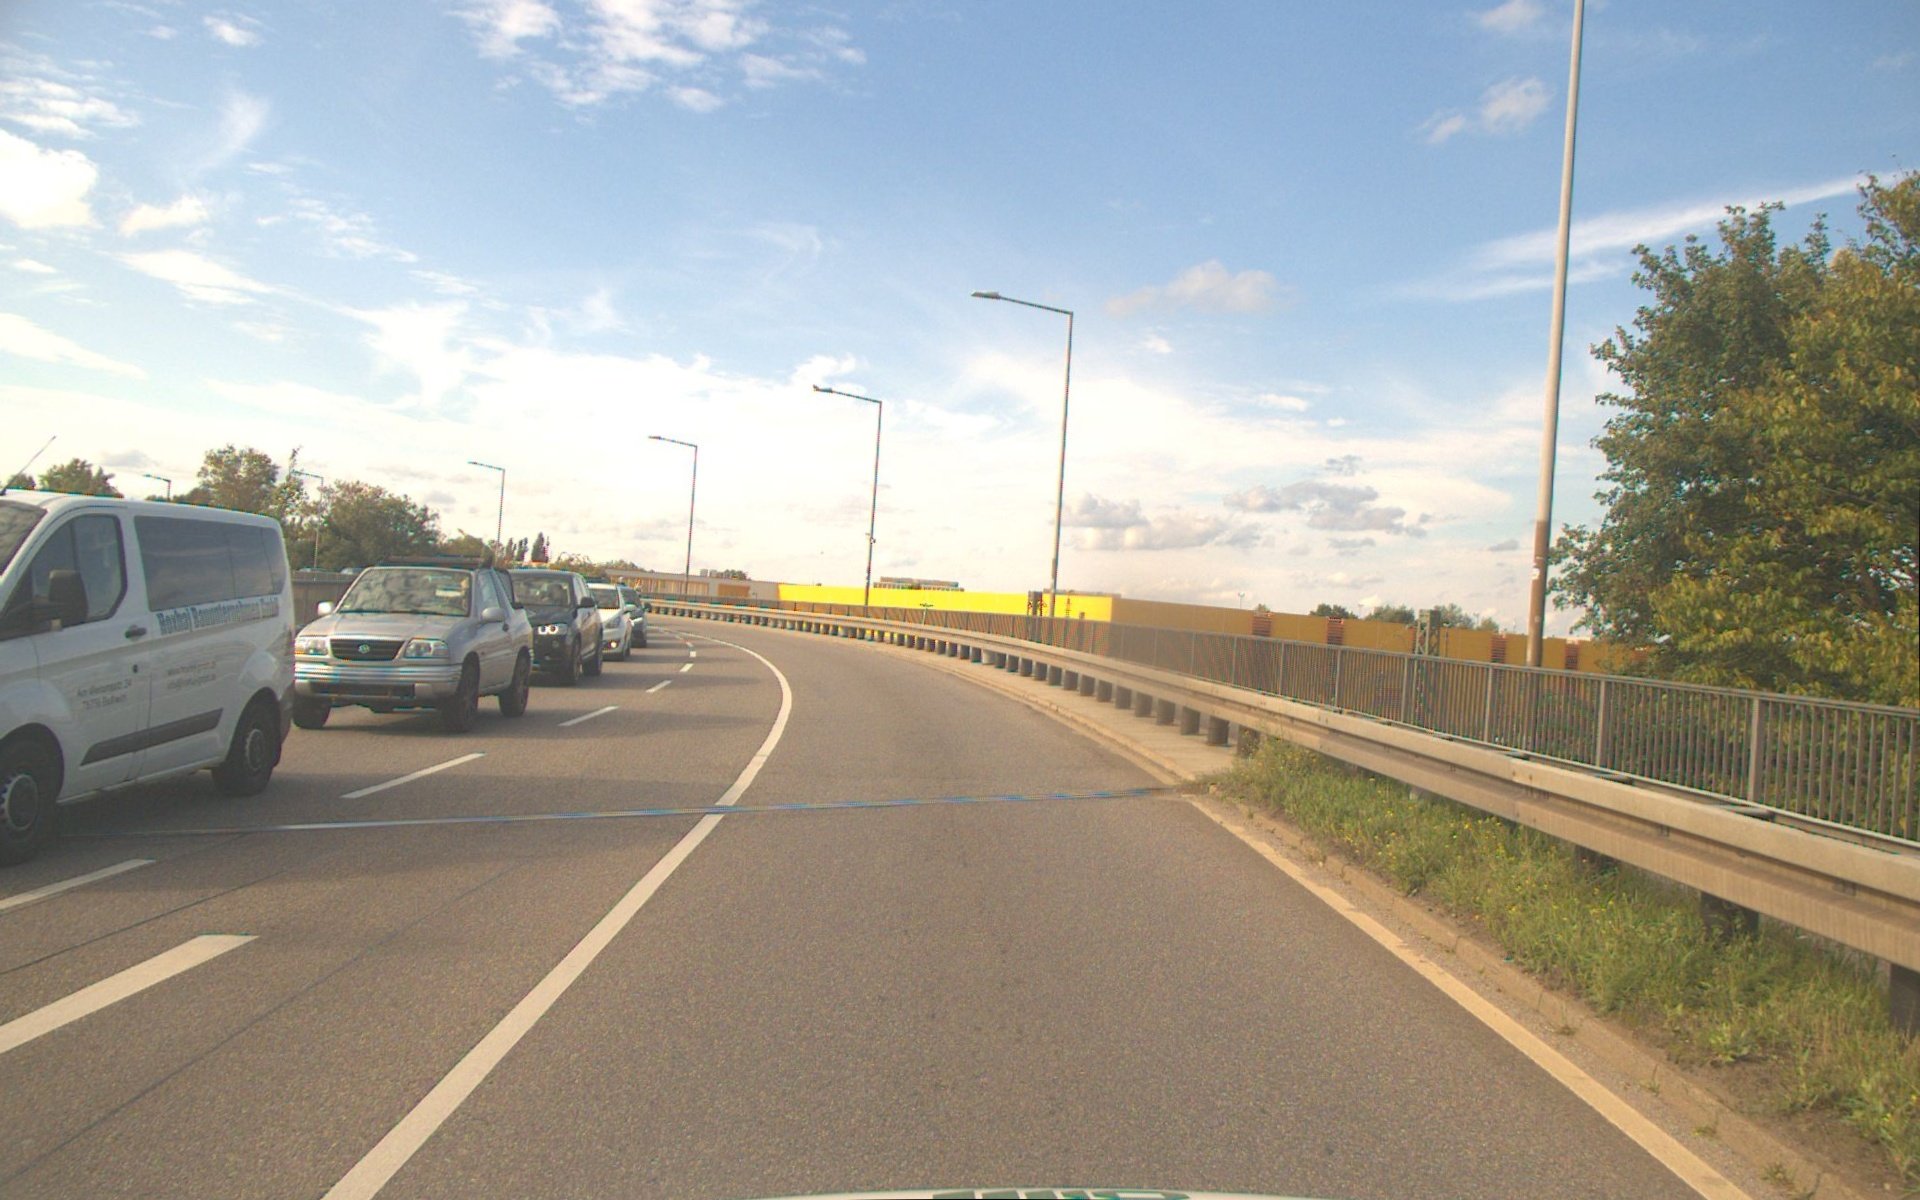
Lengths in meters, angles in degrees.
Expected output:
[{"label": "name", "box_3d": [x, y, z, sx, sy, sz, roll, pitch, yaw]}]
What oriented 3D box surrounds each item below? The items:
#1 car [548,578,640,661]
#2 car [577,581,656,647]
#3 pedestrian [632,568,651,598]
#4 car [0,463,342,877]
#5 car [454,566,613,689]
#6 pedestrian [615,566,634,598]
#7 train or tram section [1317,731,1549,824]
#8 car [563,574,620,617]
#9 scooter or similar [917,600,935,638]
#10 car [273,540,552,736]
[{"label": "car", "box_3d": [-7.422, 0.353, 33.792, 1.653, 1.572, 3.913, 2, 0, -11]}, {"label": "car", "box_3d": [-8.556, 0.310, 40.990, 1.782, 1.482, 4.310, 2, 0, -13]}, {"label": "pedestrian", "box_3d": [-16.866, -0.915, 87.628, 0.670, 1.570, 0.950, 2, 0, -31]}, {"label": "car", "box_3d": [-5.624, 0.299, 9.905, 1.945, 1.998, 5.047, 2, 0, -1]}, {"label": "car", "box_3d": [-6.541, 0.368, 25.800, 1.834, 1.695, 4.621, 2, 0, -8]}, {"label": "pedestrian", "box_3d": [-17.679, -0.943, 87.064, 0.670, 1.690, 0.856, 2, 0, -32]}, {"label": "train or tram section", "box_3d": [28.605, 10.496, 99.272, 16.528, 4.795, 3.064, 2, 0, -32]}, {"label": "car", "box_3d": [-13.849, -0.198, 62.053, 1.732, 1.515, 4.425, 2, 0, -17]}, {"label": "scooter or similar", "box_3d": [-1.081, 0.605, 52.317, 0.261, 1.182, 1.183, 2, 0, -16]}, {"label": "car", "box_3d": [-5.572, 0.340, 17.333, 1.738, 1.776, 3.835, 2, 0, -3]}]
